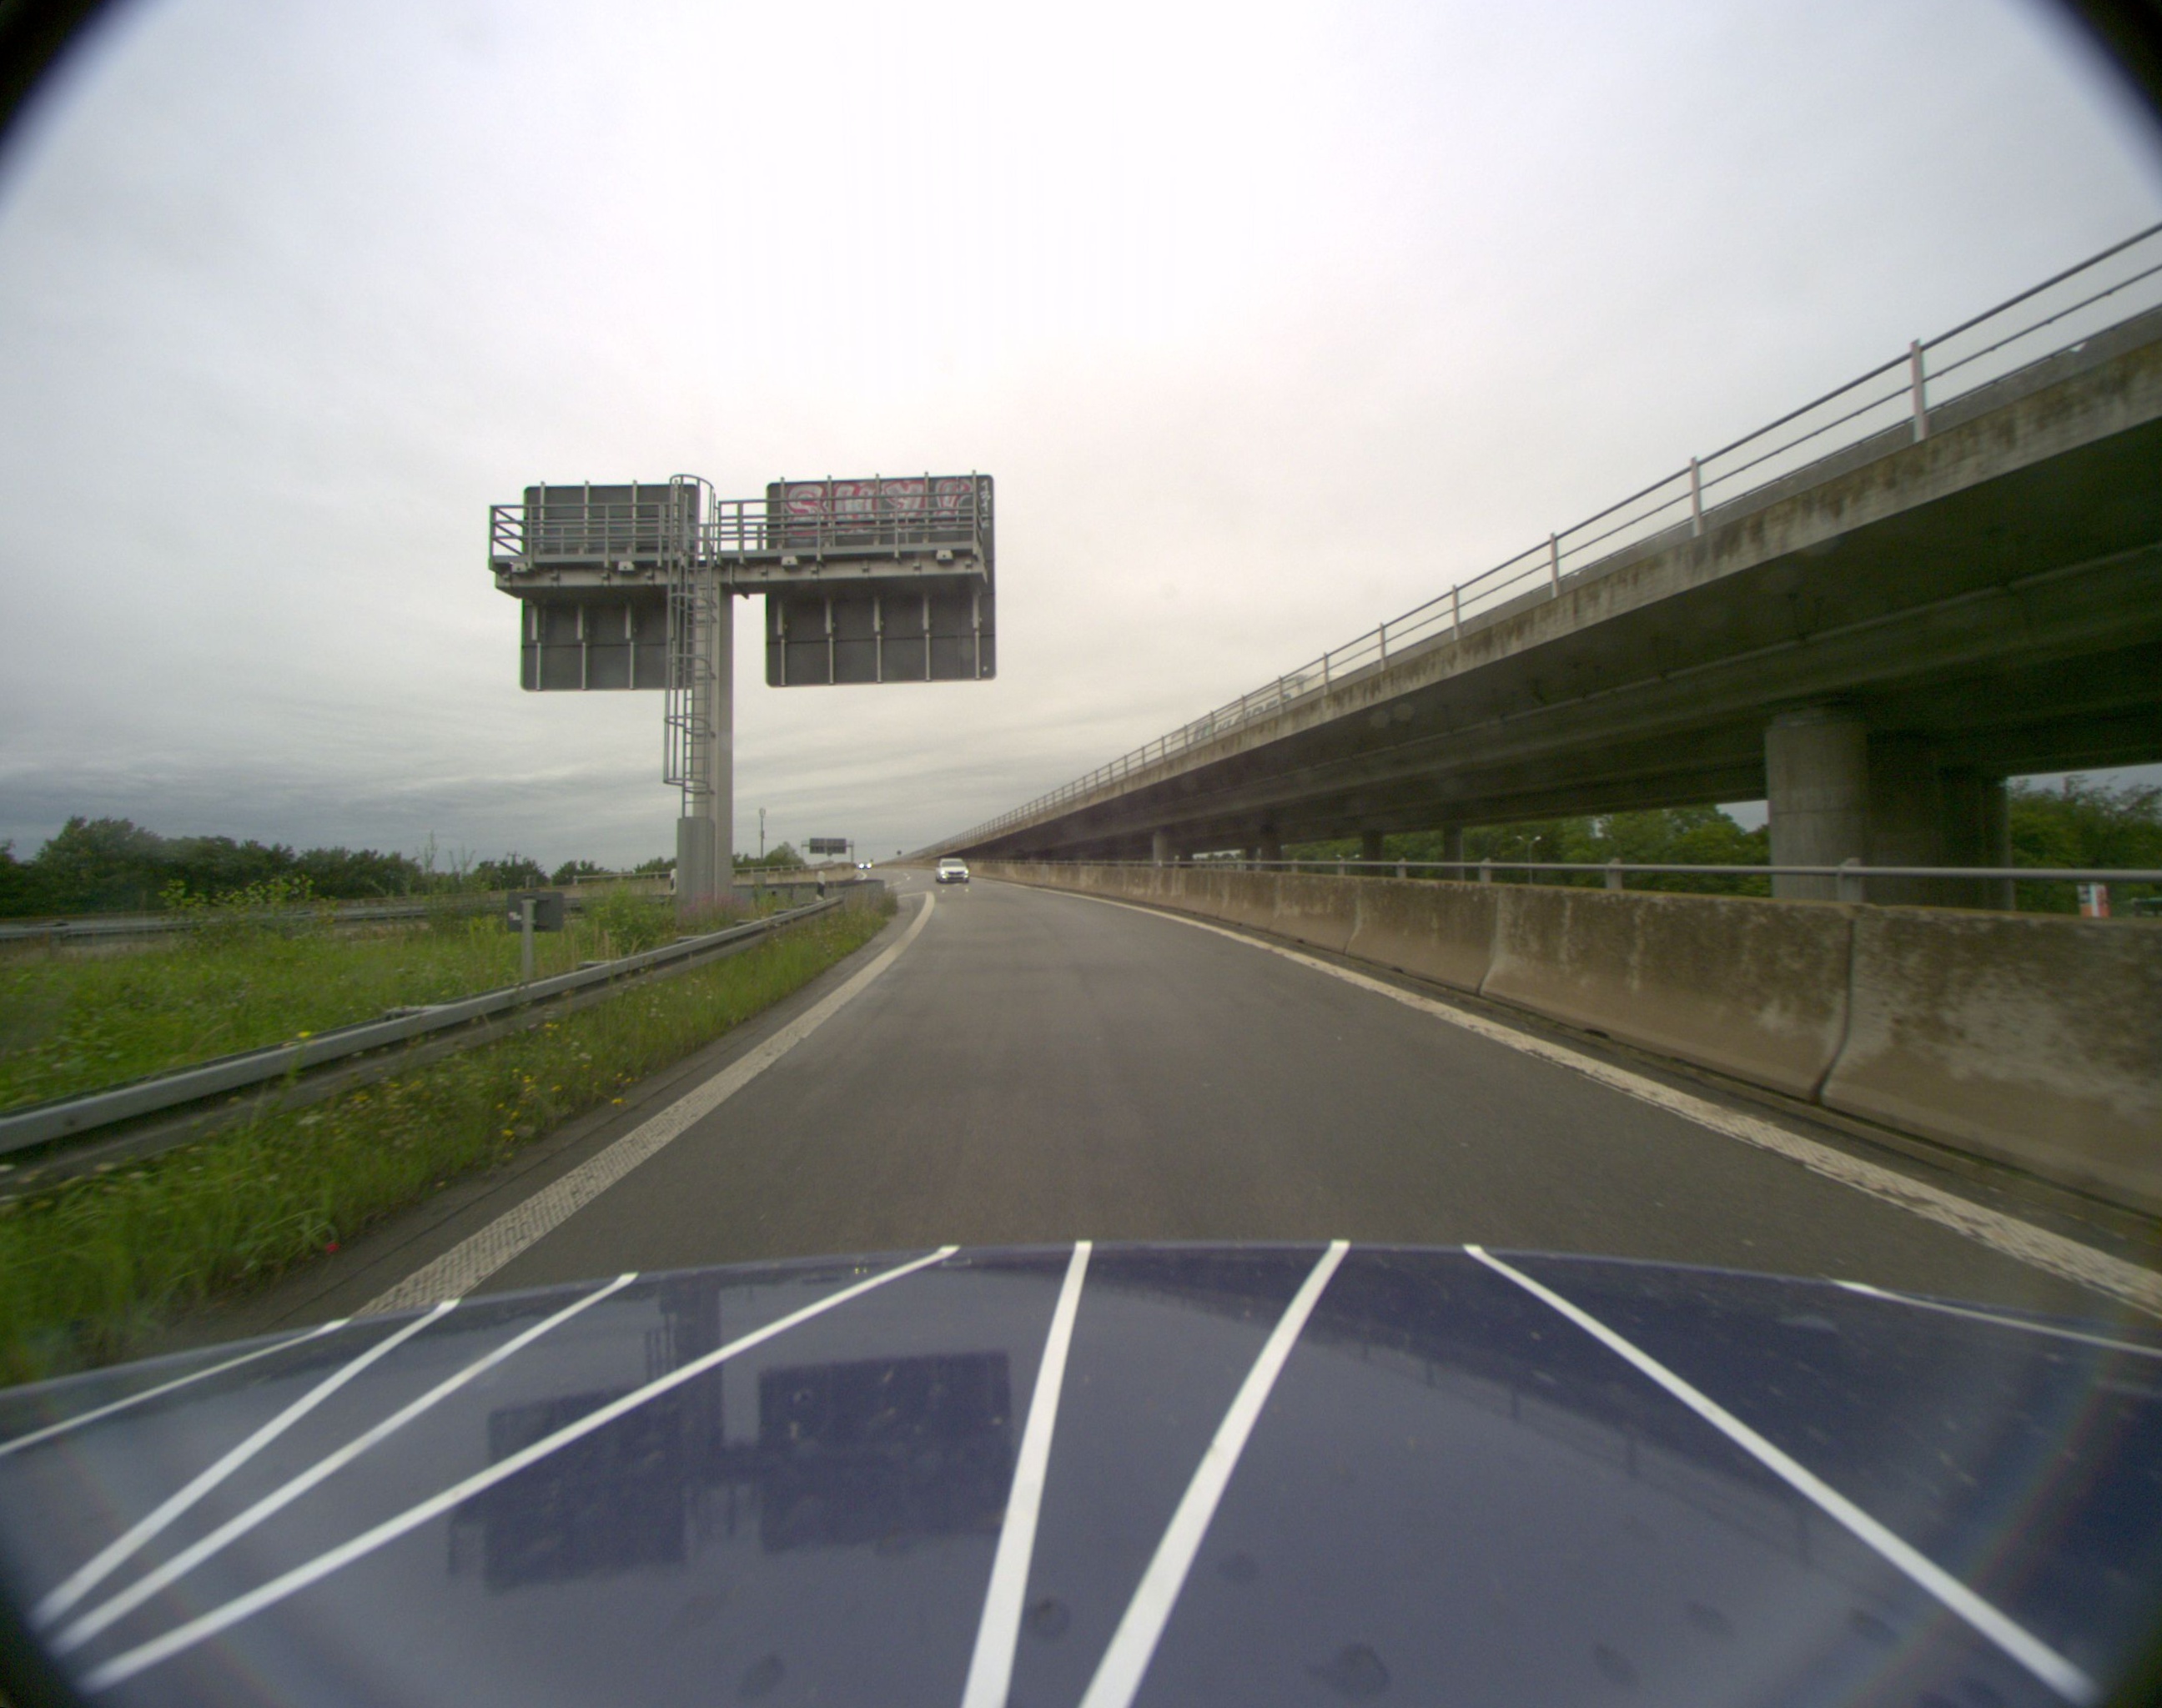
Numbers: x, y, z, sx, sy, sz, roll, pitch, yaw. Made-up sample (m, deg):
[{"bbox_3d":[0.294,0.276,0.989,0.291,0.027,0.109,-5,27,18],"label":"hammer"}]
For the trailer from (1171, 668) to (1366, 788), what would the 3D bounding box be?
[{"bbox_3d":[8.703,-5.844,38.543,2.668,3.278,14.045,-2,-2,-17],"label":"trailer"}]

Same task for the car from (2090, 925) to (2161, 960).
[{"bbox_3d":[62.944,5.206,44.437,1.812,1.739,4.358,-3,0,-24],"label":"car"}]

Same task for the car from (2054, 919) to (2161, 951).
[{"bbox_3d":[65.166,5.094,48.115,1.851,1.608,3.993,-3,0,-24],"label":"car"}]

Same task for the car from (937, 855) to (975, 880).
[{"bbox_3d":[-7.753,0.812,46.911,1.917,1.439,4.551,1,-1,-14],"label":"car"}]

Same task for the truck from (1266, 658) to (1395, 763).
[{"bbox_3d":[10.483,-5.944,32.495,2.599,3.225,5.189,-2,-2,-17],"label":"truck"}]
